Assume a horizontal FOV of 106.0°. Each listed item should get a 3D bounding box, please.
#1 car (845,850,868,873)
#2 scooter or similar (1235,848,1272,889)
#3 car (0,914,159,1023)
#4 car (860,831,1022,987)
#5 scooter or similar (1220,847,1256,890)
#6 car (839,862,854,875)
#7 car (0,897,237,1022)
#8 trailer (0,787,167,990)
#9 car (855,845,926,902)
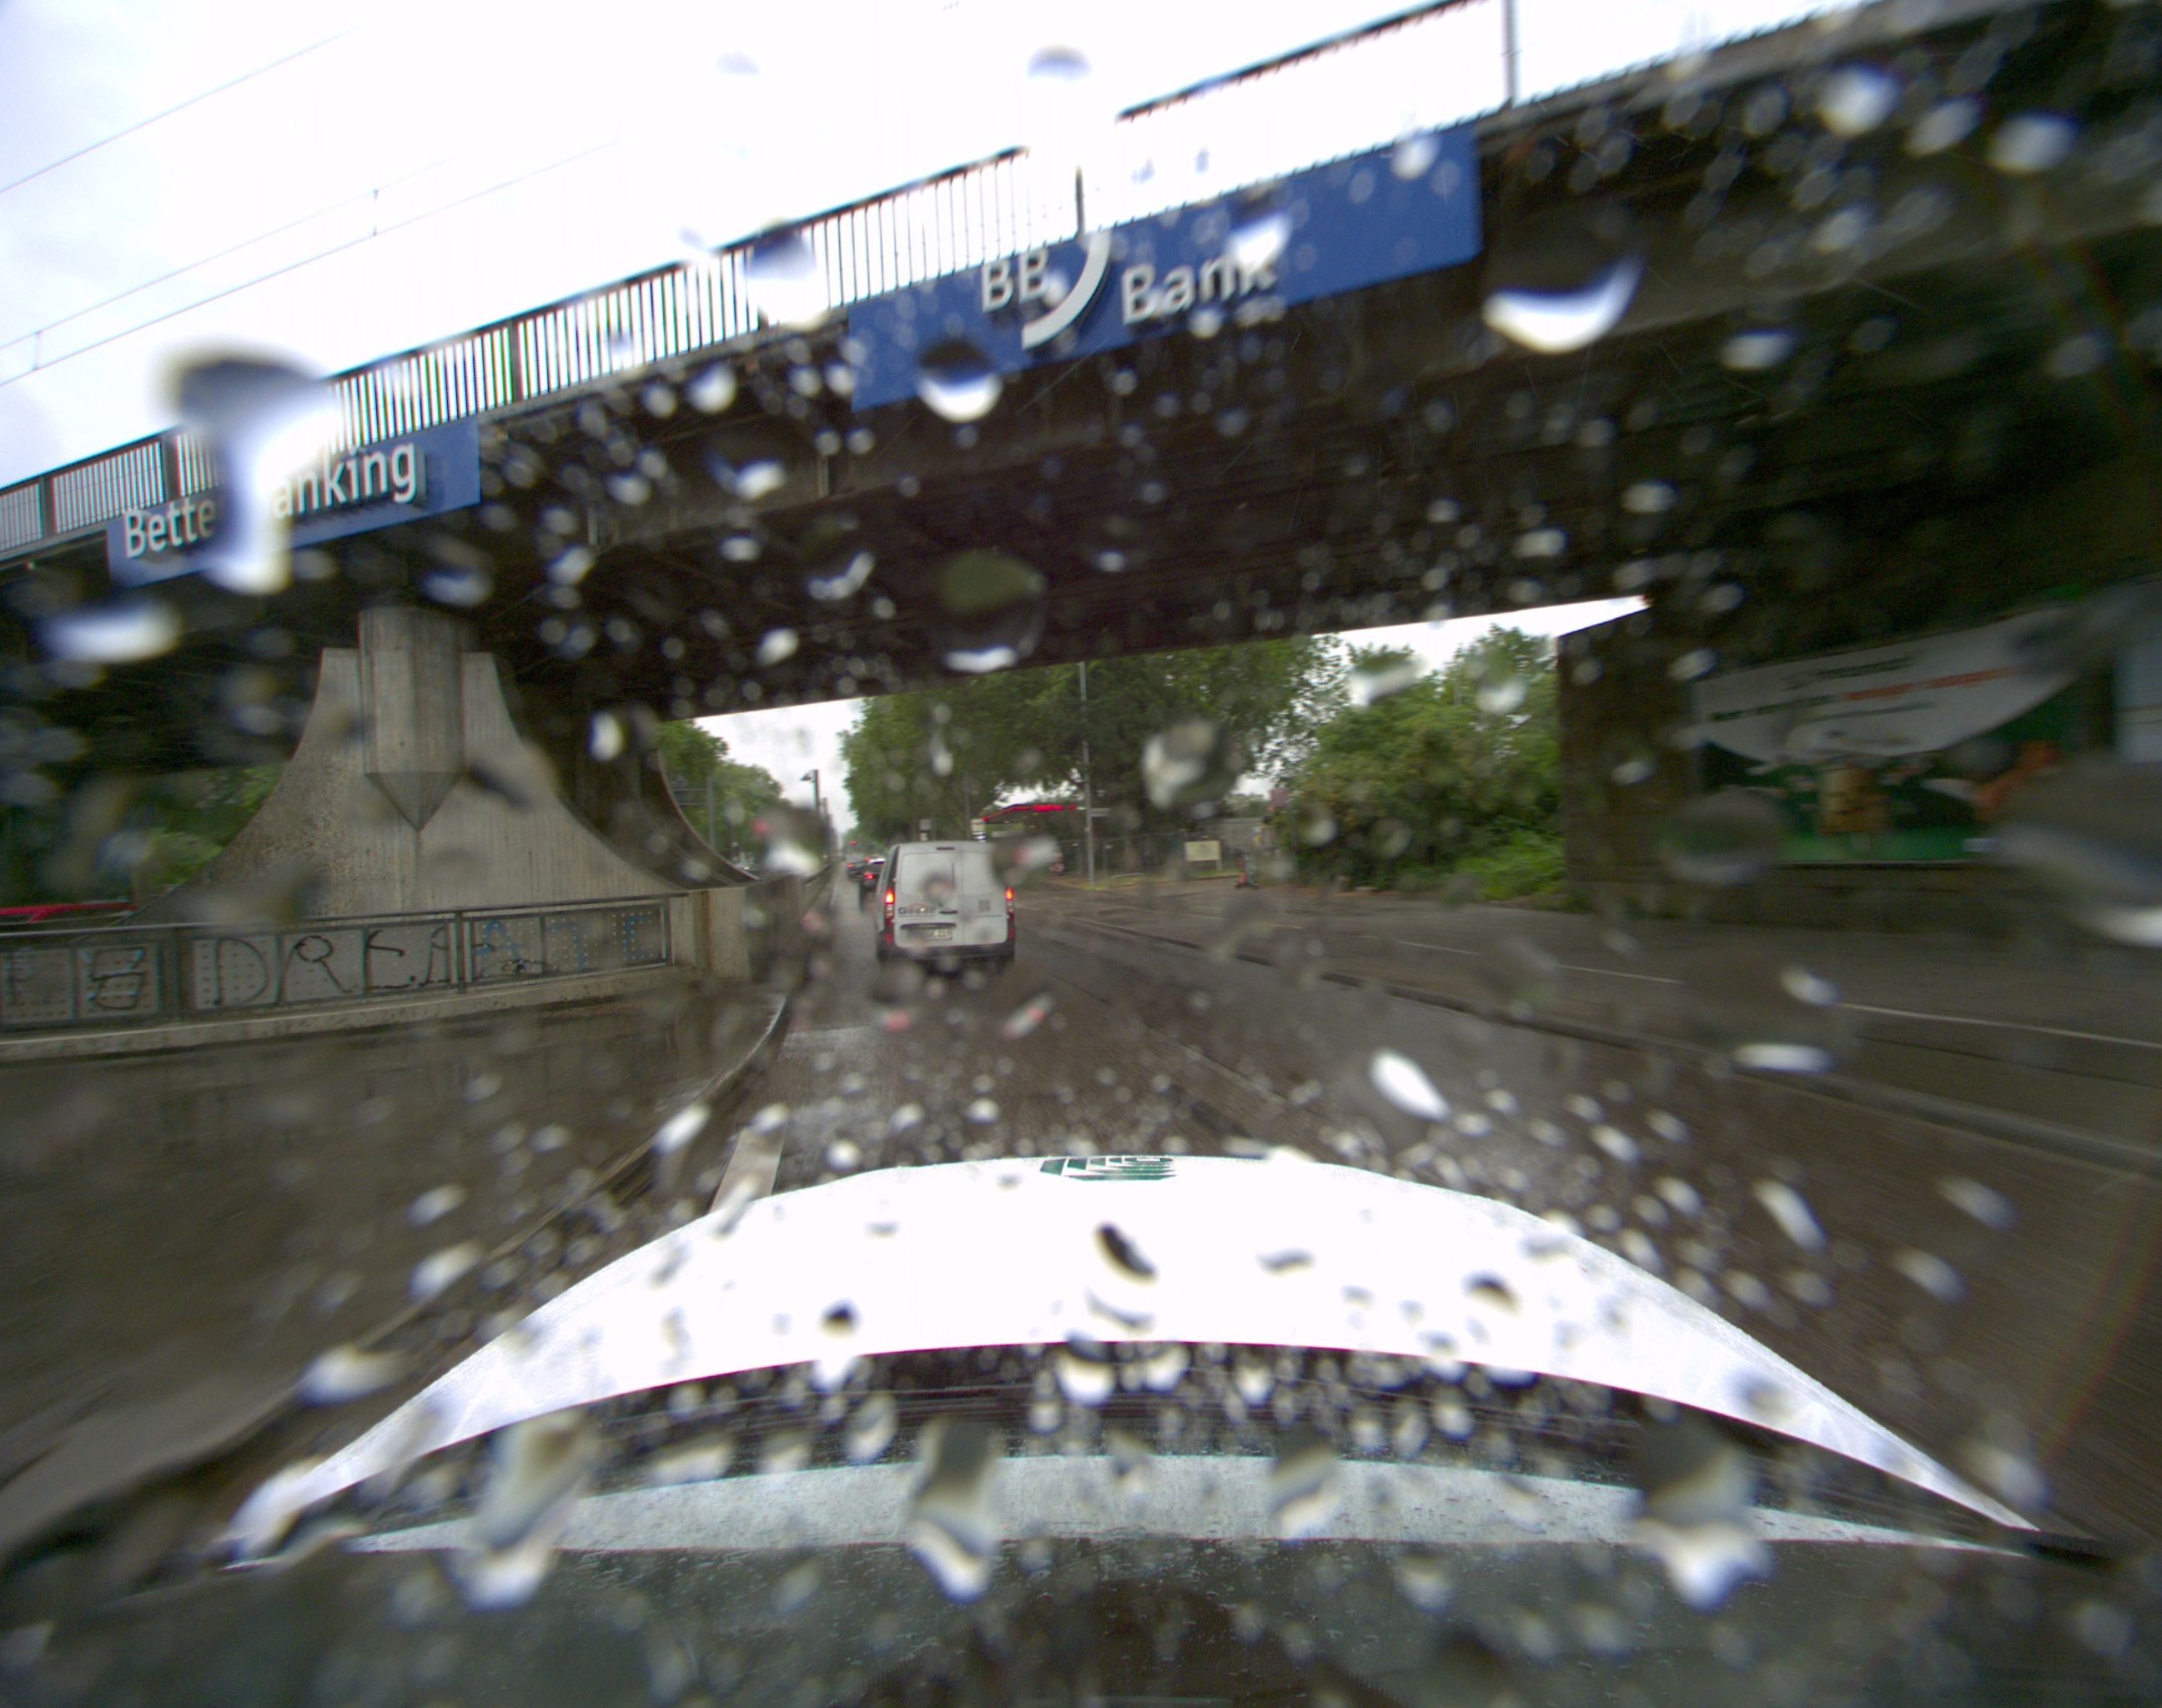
[{"bbox_3d":[-22.708,0.748,82.394,2.052,2.140,3.979,-3,0,-15],"label":"car"},{"bbox_3d":[5.390,0.440,25.483,0.768,1.178,1.548,-5,1,1],"label":"scooter or similar"},{"bbox_3d":[-18.713,1.999,13.983,1.999,1.574,3.976,-3,0,-18],"label":"car"},{"bbox_3d":[-2.201,0.681,11.873,1.760,1.777,3.976,-3,0,-17],"label":"car"},{"bbox_3d":[5.267,0.469,27.234,0.701,1.310,1.567,-8,-2,24],"label":"scooter or similar"},{"bbox_3d":[-36.692,2.236,127.577,1.996,2.013,3.982,-3,0,-13],"label":"car"},{"bbox_3d":[-15.112,1.497,12.129,1.820,1.452,3.975,-3,0,-18],"label":"car"},{"bbox_3d":[-22.424,0.721,15.276,2.686,3.986,8.475,-3,0,-15],"label":"trailer"},{"bbox_3d":[-6.221,0.598,26.294,1.922,1.609,3.977,-3,0,-17],"label":"car"}]
